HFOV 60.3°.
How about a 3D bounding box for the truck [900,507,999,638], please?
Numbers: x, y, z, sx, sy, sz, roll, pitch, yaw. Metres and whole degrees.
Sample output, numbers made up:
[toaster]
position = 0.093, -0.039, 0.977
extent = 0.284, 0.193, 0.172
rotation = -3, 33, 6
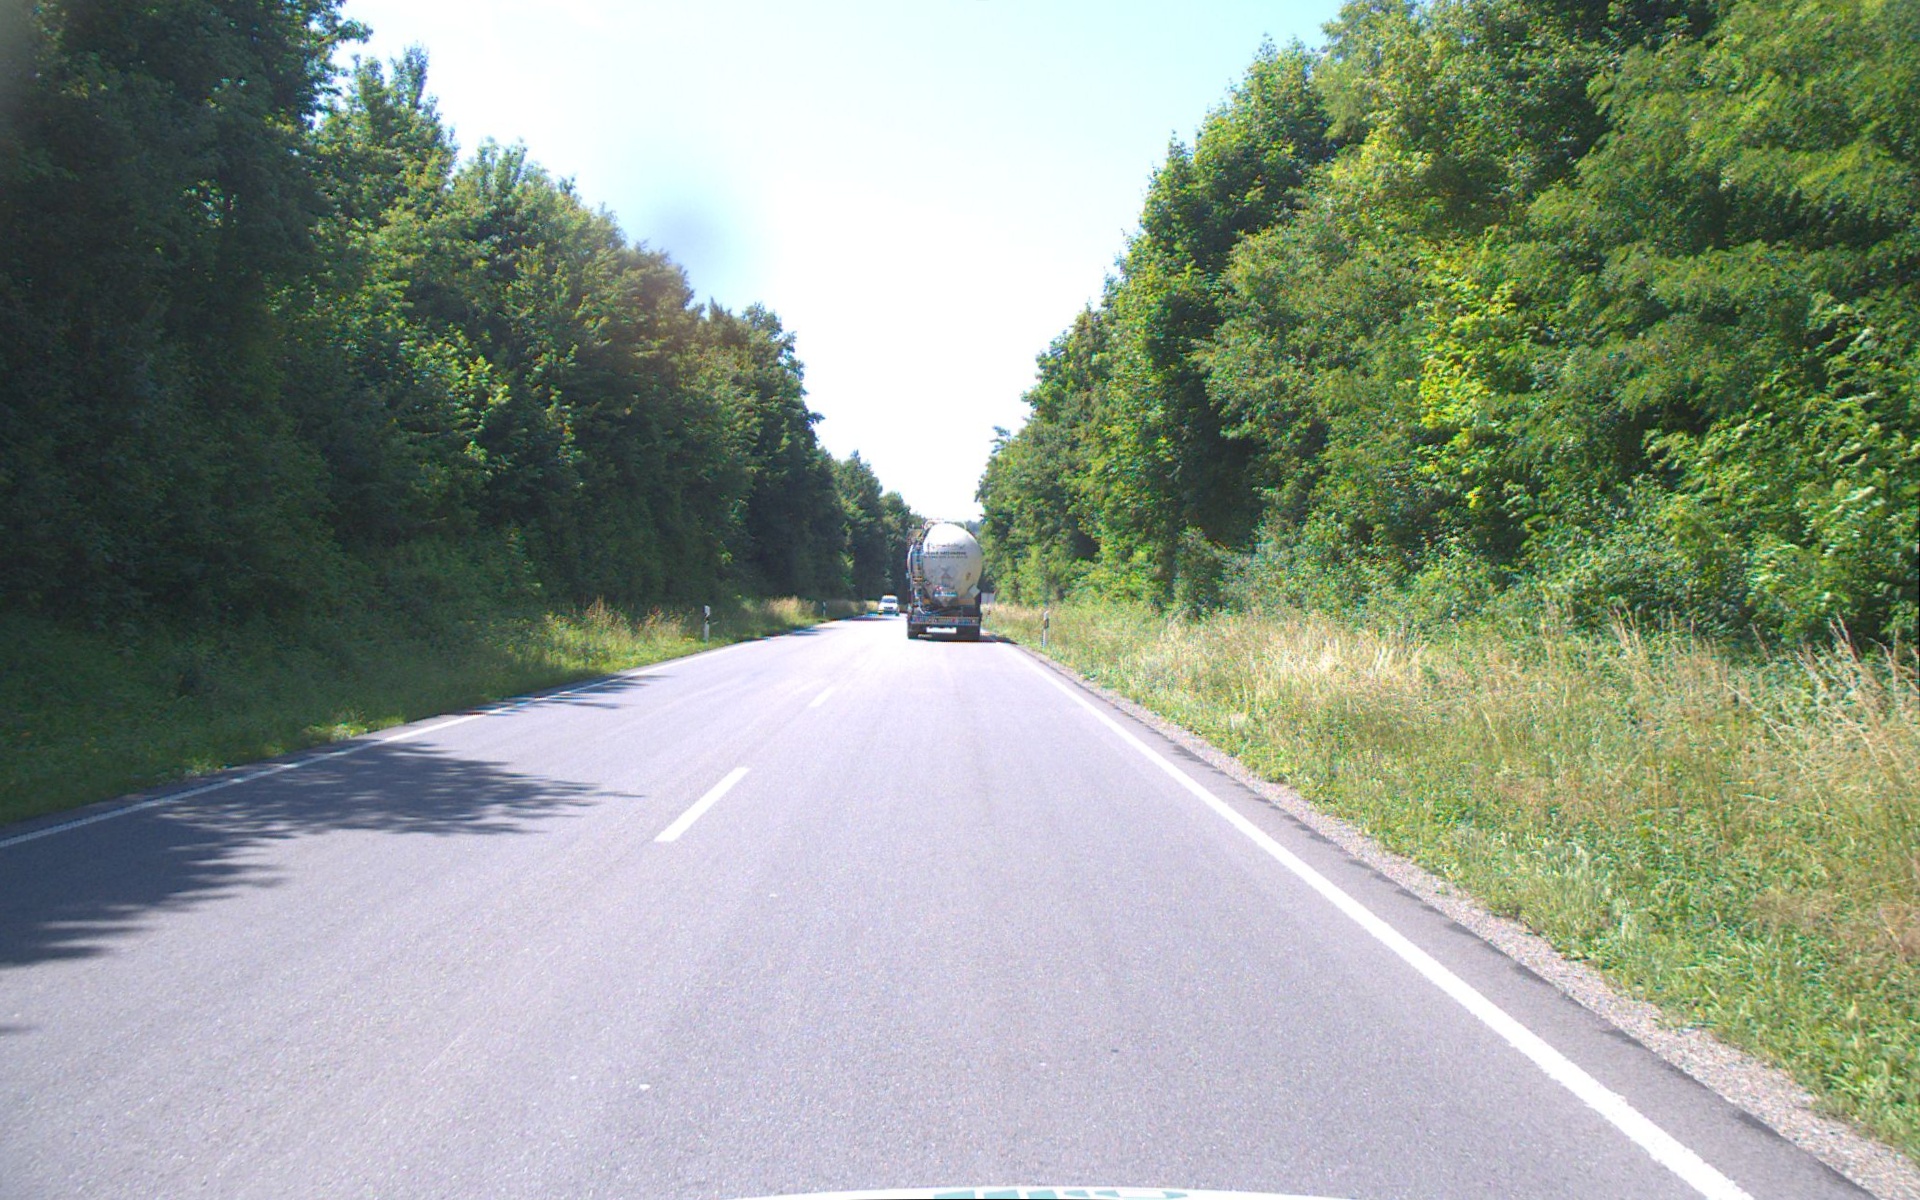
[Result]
[truck]
position = -0.467, -0.848, 61.383
extent = 2.988, 4.068, 15.632
rotation = 3, 0, -1

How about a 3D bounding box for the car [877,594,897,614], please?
[car]
position = -6.094, 0.353, 138.338
extent = 1.481, 1.620, 3.793
rotation = 1, 0, 0
